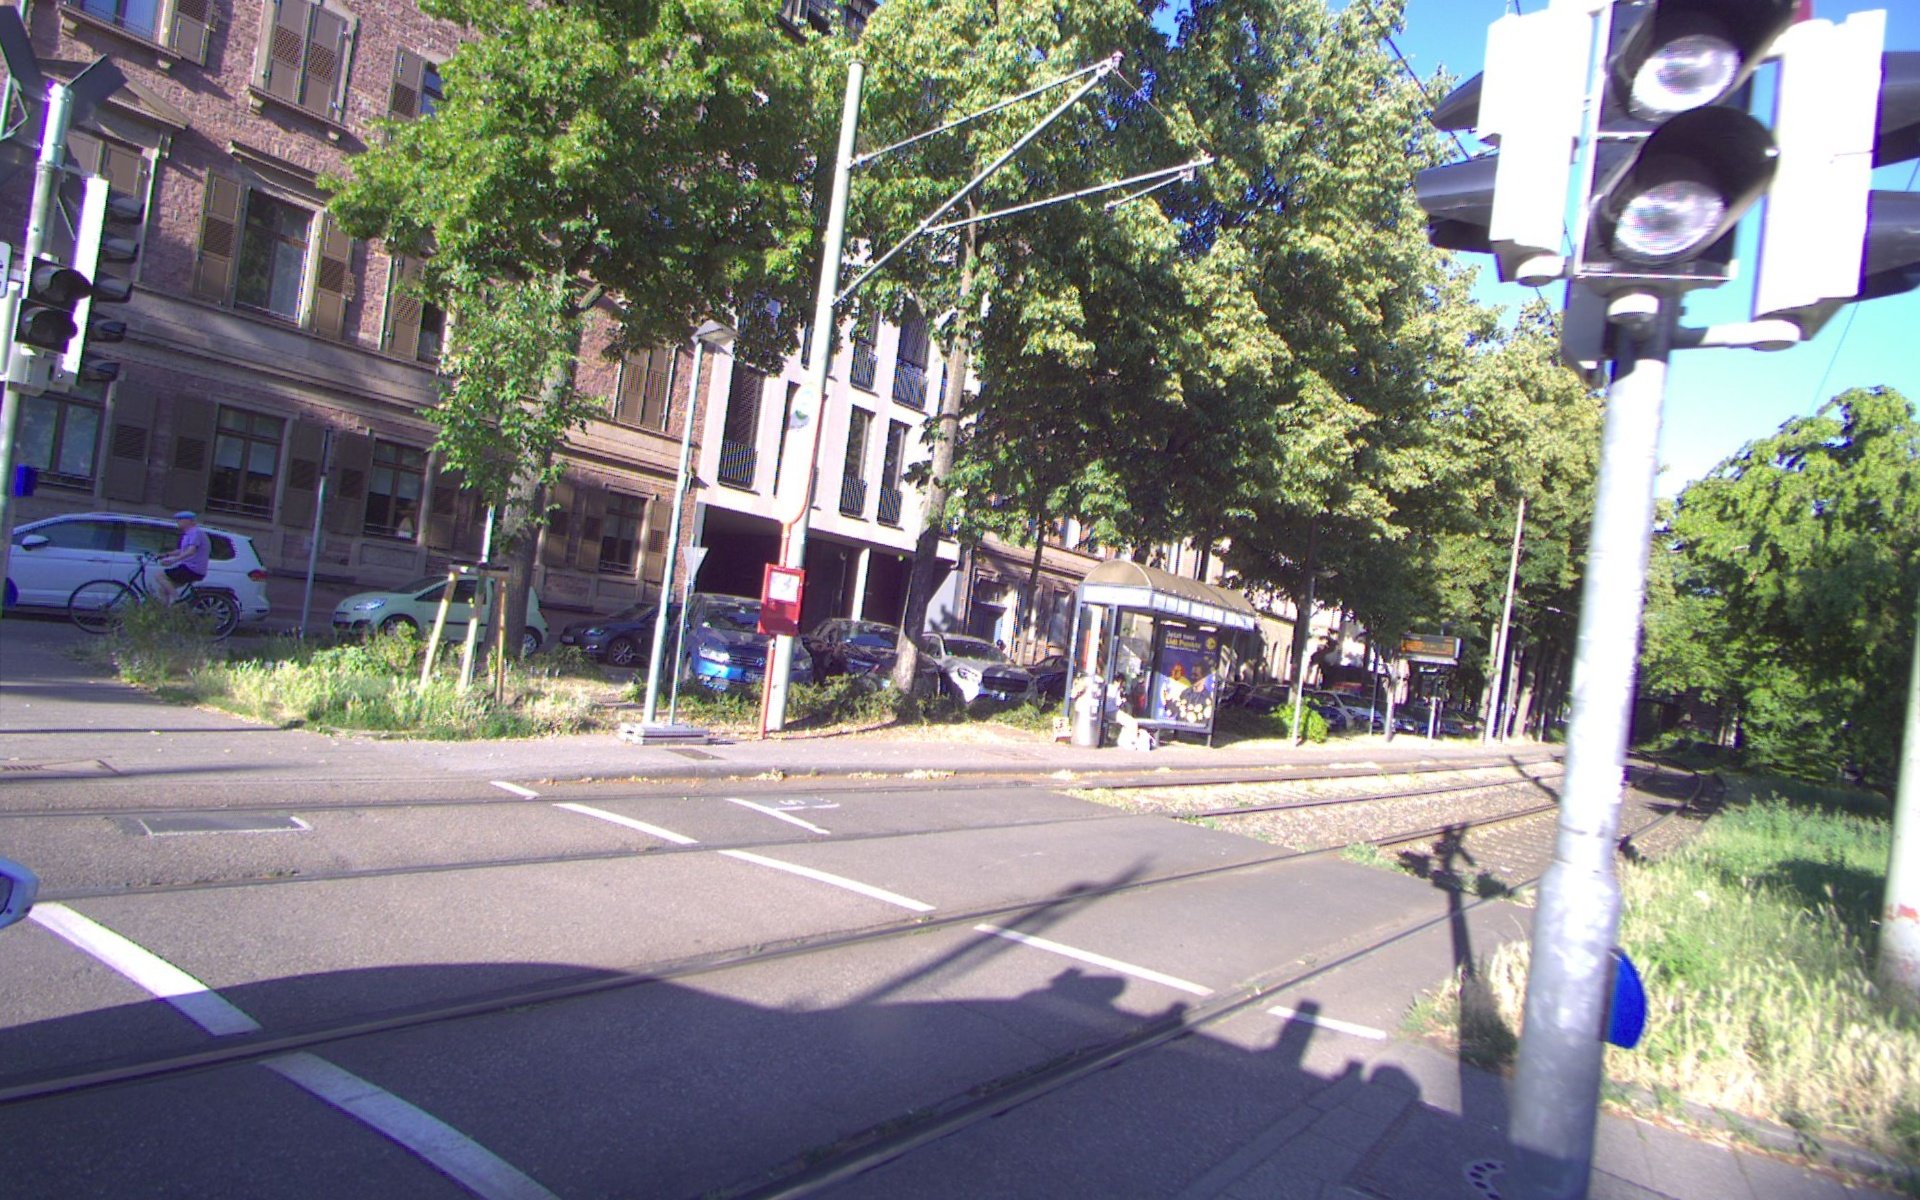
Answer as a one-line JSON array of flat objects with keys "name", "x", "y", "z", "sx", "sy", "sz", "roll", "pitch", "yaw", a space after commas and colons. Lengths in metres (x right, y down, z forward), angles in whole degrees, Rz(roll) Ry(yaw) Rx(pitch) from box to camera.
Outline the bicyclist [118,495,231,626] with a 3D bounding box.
[{"name": "bicyclist", "x": -10.673, "y": -0.527, "z": 13.677, "sx": 0.690, "sy": 1.606, "sz": 0.872, "roll": 7, "pitch": -3, "yaw": 37}]

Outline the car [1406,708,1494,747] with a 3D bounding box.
[{"name": "car", "x": 25.582, "y": 6.624, "z": 52.661, "sx": 1.724, "sy": 1.294, "sz": 3.983, "roll": 9, "pitch": -1, "yaw": -20}]

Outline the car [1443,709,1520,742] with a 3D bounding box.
[{"name": "car", "x": 32.130, "y": 7.726, "z": 62.123, "sx": 1.724, "sy": 1.294, "sz": 3.983, "roll": 9, "pitch": -1, "yaw": -20}]

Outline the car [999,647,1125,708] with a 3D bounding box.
[{"name": "car", "x": 3.597, "y": 2.730, "z": 34.829, "sx": 1.971, "sy": 1.585, "sz": 4.577, "roll": 8, "pitch": -2, "yaw": 40}]

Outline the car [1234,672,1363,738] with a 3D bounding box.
[{"name": "car", "x": 11.154, "y": 3.428, "z": 33.483, "sx": 1.782, "sy": 1.504, "sz": 4.268, "roll": 9, "pitch": -1, "yaw": -16}]

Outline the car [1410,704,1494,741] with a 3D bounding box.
[{"name": "car", "x": 27.077, "y": 6.721, "z": 55.460, "sx": 1.724, "sy": 1.294, "sz": 3.983, "roll": 9, "pitch": -1, "yaw": -20}]

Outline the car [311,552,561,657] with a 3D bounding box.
[{"name": "car", "x": -9.772, "y": 0.128, "z": 18.985, "sx": 1.718, "sy": 1.506, "sz": 3.712, "roll": 3, "pitch": -4, "yaw": 39}]

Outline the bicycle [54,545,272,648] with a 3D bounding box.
[{"name": "bicycle", "x": -10.749, "y": -0.014, "z": 13.655, "sx": 0.690, "sy": 1.065, "sz": 2.119, "roll": 7, "pitch": -4, "yaw": 37}]

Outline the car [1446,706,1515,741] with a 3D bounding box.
[{"name": "car", "x": 37.970, "y": 8.994, "z": 73.511, "sx": 1.732, "sy": 1.787, "sz": 3.964, "roll": 9, "pitch": -1, "yaw": -33}]

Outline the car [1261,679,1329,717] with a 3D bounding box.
[{"name": "car", "x": 18.096, "y": 5.298, "z": 54.204, "sx": 1.970, "sy": 1.585, "sz": 4.600, "roll": 8, "pitch": -2, "yaw": 37}]

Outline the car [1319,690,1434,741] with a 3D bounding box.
[{"name": "car", "x": 16.602, "y": 4.583, "z": 40.318, "sx": 1.784, "sy": 1.294, "sz": 4.265, "roll": 9, "pitch": -1, "yaw": -19}]

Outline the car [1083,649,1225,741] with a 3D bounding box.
[{"name": "car", "x": 4.890, "y": 2.371, "z": 26.111, "sx": 1.898, "sy": 1.742, "sz": 4.545, "roll": 8, "pitch": -1, "yaw": -10}]

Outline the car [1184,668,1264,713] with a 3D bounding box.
[{"name": "car", "x": 12.169, "y": 4.186, "z": 46.211, "sx": 1.969, "sy": 1.586, "sz": 4.232, "roll": 8, "pitch": -2, "yaw": 36}]

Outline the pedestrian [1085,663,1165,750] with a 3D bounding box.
[{"name": "pedestrian", "x": 2.713, "y": 1.753, "z": 16.518, "sx": 0.813, "sy": 1.287, "sz": 0.873, "roll": 7, "pitch": -1, "yaw": 41}]

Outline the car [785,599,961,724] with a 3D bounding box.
[{"name": "car", "x": -1.730, "y": 1.004, "z": 18.150, "sx": 1.903, "sy": 1.653, "sz": 4.533, "roll": 9, "pitch": -1, "yaw": -19}]

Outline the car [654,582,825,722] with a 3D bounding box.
[{"name": "car", "x": -3.593, "y": 0.738, "z": 15.731, "sx": 1.719, "sy": 1.706, "sz": 4.400, "roll": 8, "pitch": -3, "yaw": -22}]

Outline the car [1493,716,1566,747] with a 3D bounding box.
[{"name": "car", "x": 38.227, "y": 8.826, "z": 67.598, "sx": 1.724, "sy": 1.294, "sz": 3.983, "roll": 9, "pitch": -1, "yaw": -20}]

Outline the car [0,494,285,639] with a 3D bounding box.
[{"name": "car", "x": -13.010, "y": -0.504, "z": 14.971, "sx": 1.849, "sy": 1.667, "sz": 4.480, "roll": 3, "pitch": -5, "yaw": 41}]

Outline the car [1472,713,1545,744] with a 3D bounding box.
[{"name": "car", "x": 36.173, "y": 8.460, "z": 66.479, "sx": 1.724, "sy": 1.294, "sz": 3.983, "roll": 9, "pitch": -1, "yaw": -20}]

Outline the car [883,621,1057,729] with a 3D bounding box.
[{"name": "car", "x": 0.042, "y": 1.402, "z": 20.084, "sx": 1.903, "sy": 1.504, "sz": 4.533, "roll": 9, "pitch": -1, "yaw": -19}]

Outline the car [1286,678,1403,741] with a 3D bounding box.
[{"name": "car", "x": 14.643, "y": 4.146, "z": 38.587, "sx": 1.782, "sy": 1.715, "sz": 4.268, "roll": 8, "pitch": -1, "yaw": -16}]

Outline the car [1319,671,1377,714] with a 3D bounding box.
[{"name": "car", "x": 24.019, "y": 5.729, "z": 62.161, "sx": 1.970, "sy": 2.198, "sz": 4.600, "roll": 8, "pitch": -1, "yaw": 37}]

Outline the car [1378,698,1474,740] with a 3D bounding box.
[{"name": "car", "x": 21.904, "y": 5.574, "z": 47.447, "sx": 1.724, "sy": 1.294, "sz": 3.983, "roll": 9, "pitch": -1, "yaw": -20}]

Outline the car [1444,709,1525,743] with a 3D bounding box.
[{"name": "car", "x": 30.659, "y": 7.354, "z": 58.878, "sx": 1.724, "sy": 1.294, "sz": 3.983, "roll": 9, "pitch": -1, "yaw": -20}]

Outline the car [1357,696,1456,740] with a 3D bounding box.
[{"name": "car", "x": 20.106, "y": 5.304, "z": 45.462, "sx": 1.724, "sy": 1.294, "sz": 3.983, "roll": 9, "pitch": -1, "yaw": -20}]

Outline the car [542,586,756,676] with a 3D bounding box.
[{"name": "car", "x": -6.803, "y": 0.728, "z": 22.354, "sx": 1.719, "sy": 1.506, "sz": 4.148, "roll": 3, "pitch": -5, "yaw": 41}]
